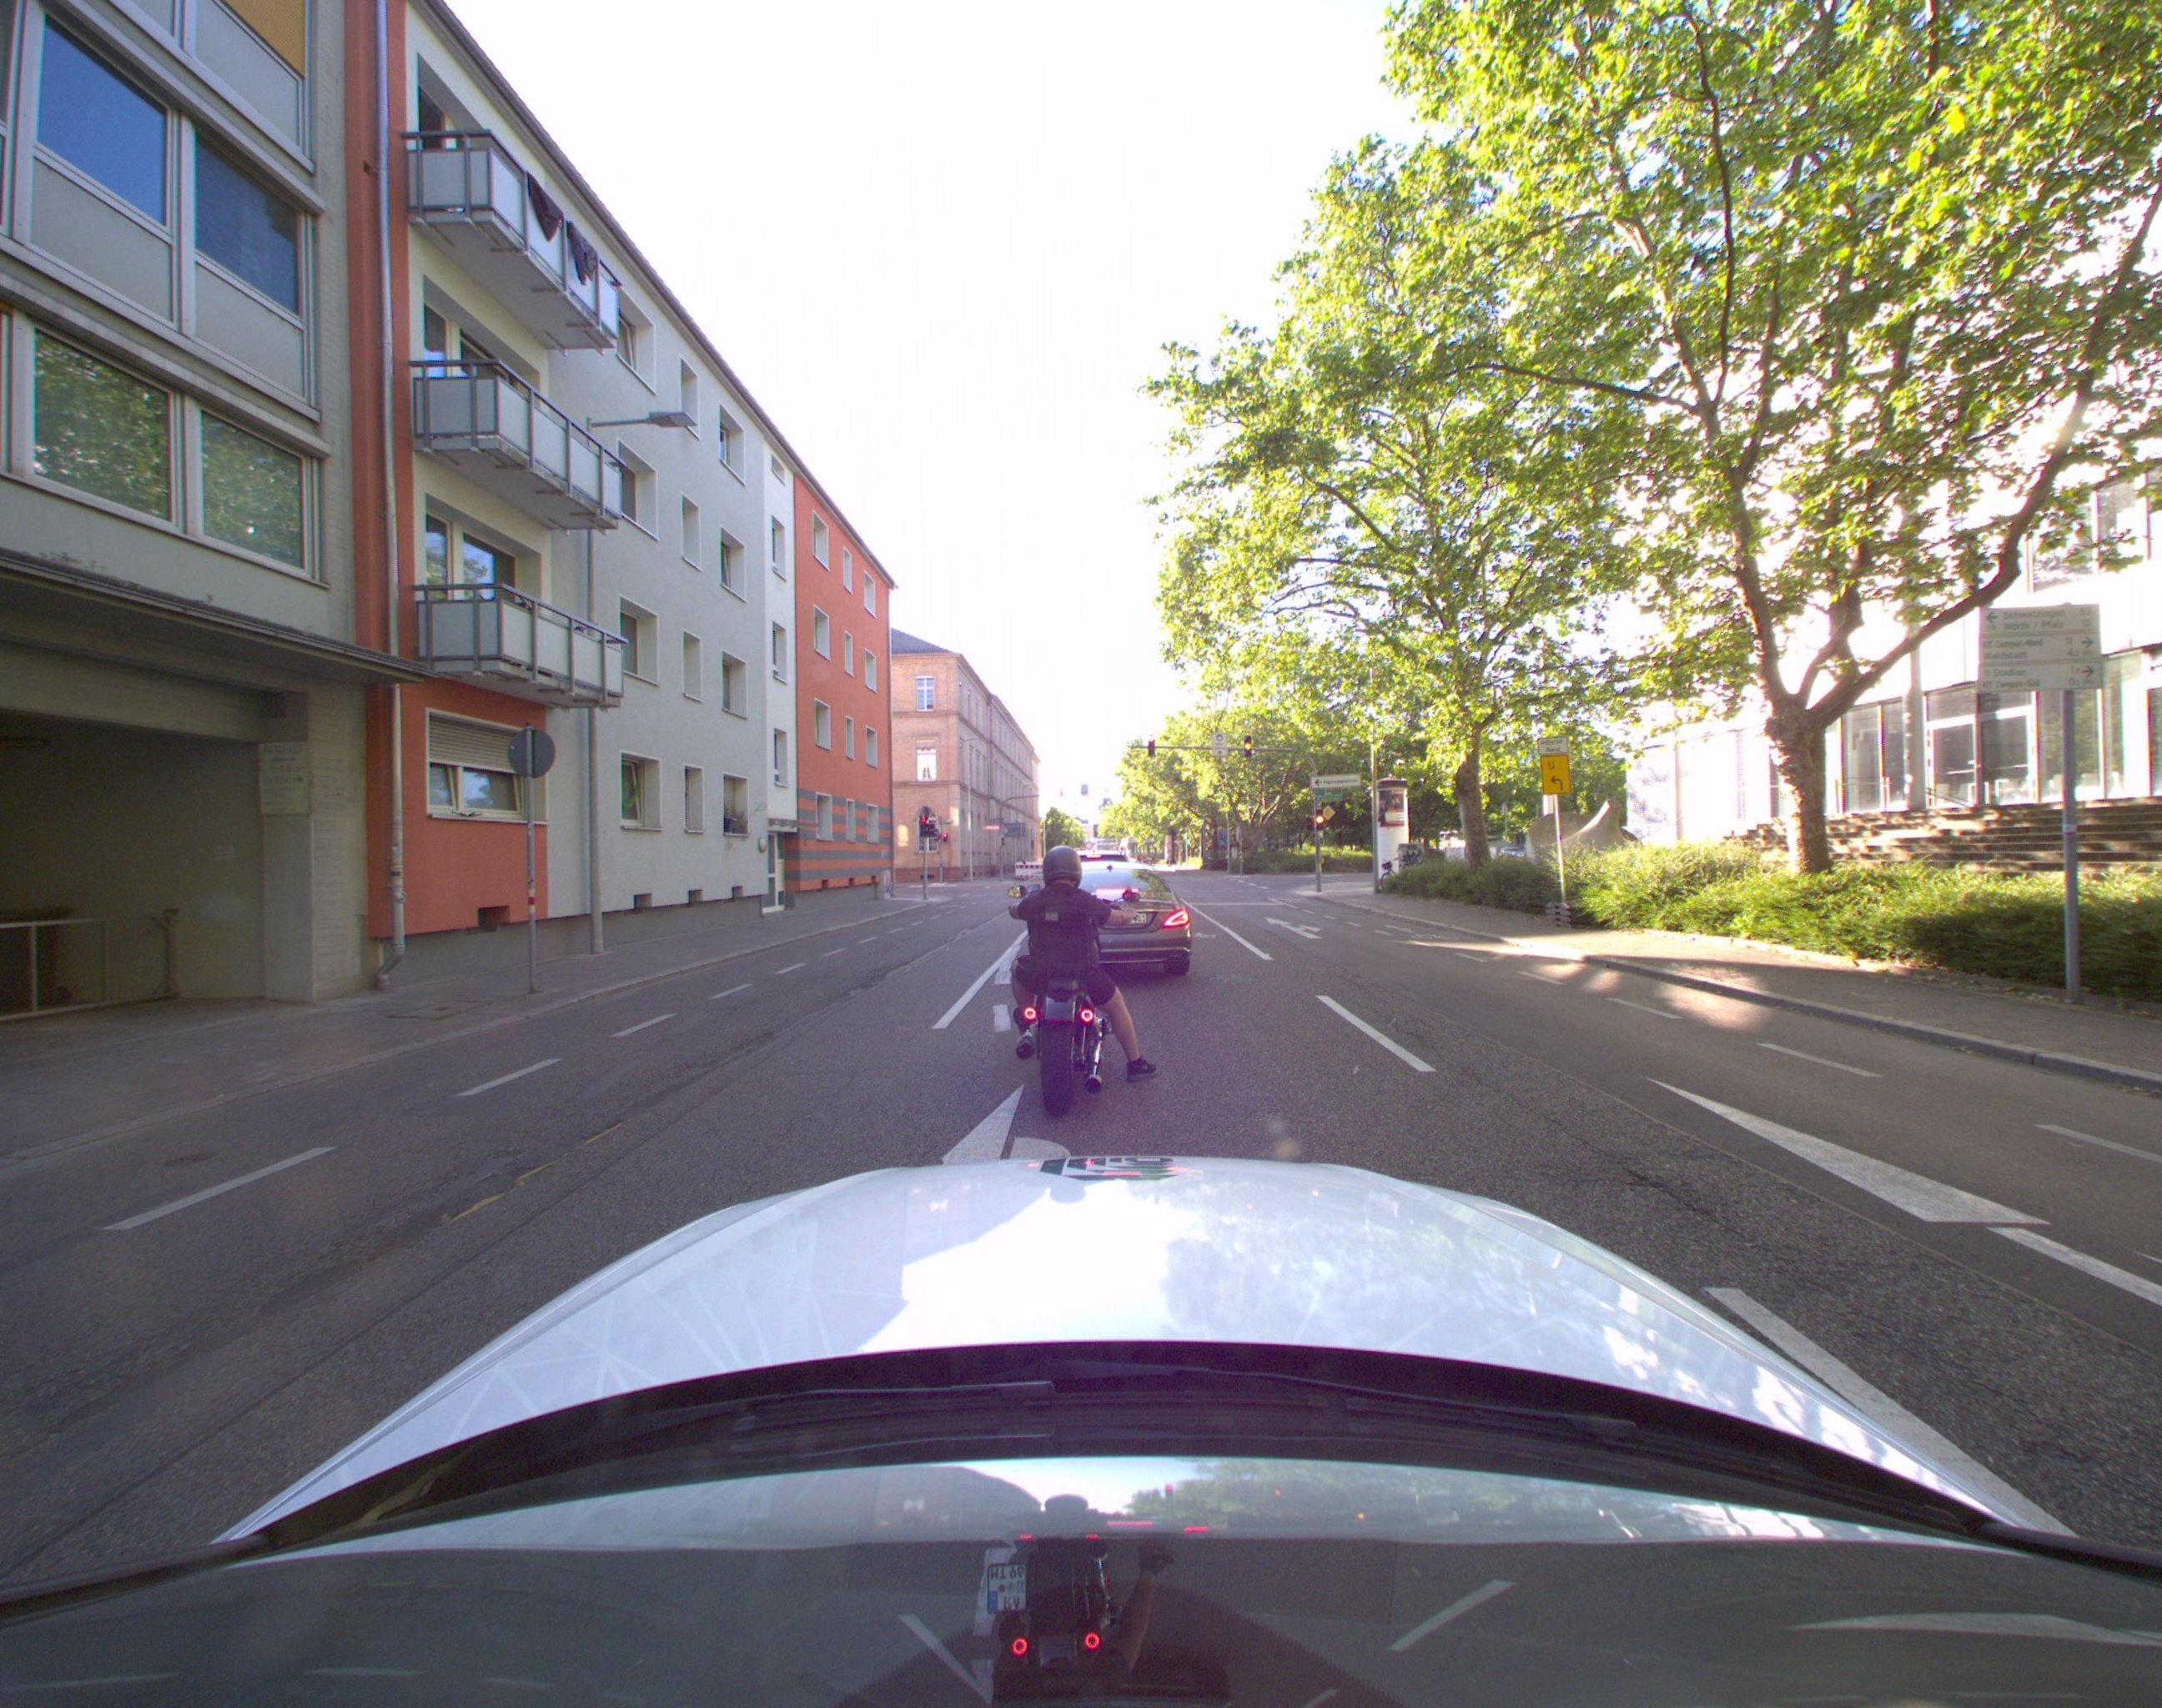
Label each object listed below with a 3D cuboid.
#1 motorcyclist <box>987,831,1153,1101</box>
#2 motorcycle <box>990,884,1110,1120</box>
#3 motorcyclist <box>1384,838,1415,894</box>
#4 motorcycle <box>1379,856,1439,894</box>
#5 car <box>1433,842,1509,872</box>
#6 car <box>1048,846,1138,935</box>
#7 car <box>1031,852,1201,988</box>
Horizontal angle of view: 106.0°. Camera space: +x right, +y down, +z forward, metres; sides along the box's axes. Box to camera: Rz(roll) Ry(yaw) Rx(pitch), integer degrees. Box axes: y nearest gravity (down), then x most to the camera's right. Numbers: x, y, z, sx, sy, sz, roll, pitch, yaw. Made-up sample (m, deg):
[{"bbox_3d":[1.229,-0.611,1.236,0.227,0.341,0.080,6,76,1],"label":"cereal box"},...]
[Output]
[{"bbox_3d":[-0.048,0.674,5.447,0.986,1.611,1.121,0,-1,1],"label":"motorcyclist"},{"bbox_3d":[-0.137,0.860,5.540,0.657,1.240,2.058,0,-1,2],"label":"motorcycle"},{"bbox_3d":[10.773,0.395,27.567,0.818,1.863,0.673,-1,-1,7],"label":"motorcyclist"},{"bbox_3d":[11.077,0.713,27.543,1.771,1.243,0.724,0,-1,7],"label":"motorcycle"},{"bbox_3d":[24.636,0.205,51.521,3.974,1.772,1.738,-1,0,-1],"label":"car"},{"bbox_3d":[0.292,0.693,17.094,1.645,1.652,4.002,0,-1,2],"label":"car"},{"bbox_3d":[0.266,0.748,11.243,1.821,1.486,4.325,0,-1,-5],"label":"car"}]
